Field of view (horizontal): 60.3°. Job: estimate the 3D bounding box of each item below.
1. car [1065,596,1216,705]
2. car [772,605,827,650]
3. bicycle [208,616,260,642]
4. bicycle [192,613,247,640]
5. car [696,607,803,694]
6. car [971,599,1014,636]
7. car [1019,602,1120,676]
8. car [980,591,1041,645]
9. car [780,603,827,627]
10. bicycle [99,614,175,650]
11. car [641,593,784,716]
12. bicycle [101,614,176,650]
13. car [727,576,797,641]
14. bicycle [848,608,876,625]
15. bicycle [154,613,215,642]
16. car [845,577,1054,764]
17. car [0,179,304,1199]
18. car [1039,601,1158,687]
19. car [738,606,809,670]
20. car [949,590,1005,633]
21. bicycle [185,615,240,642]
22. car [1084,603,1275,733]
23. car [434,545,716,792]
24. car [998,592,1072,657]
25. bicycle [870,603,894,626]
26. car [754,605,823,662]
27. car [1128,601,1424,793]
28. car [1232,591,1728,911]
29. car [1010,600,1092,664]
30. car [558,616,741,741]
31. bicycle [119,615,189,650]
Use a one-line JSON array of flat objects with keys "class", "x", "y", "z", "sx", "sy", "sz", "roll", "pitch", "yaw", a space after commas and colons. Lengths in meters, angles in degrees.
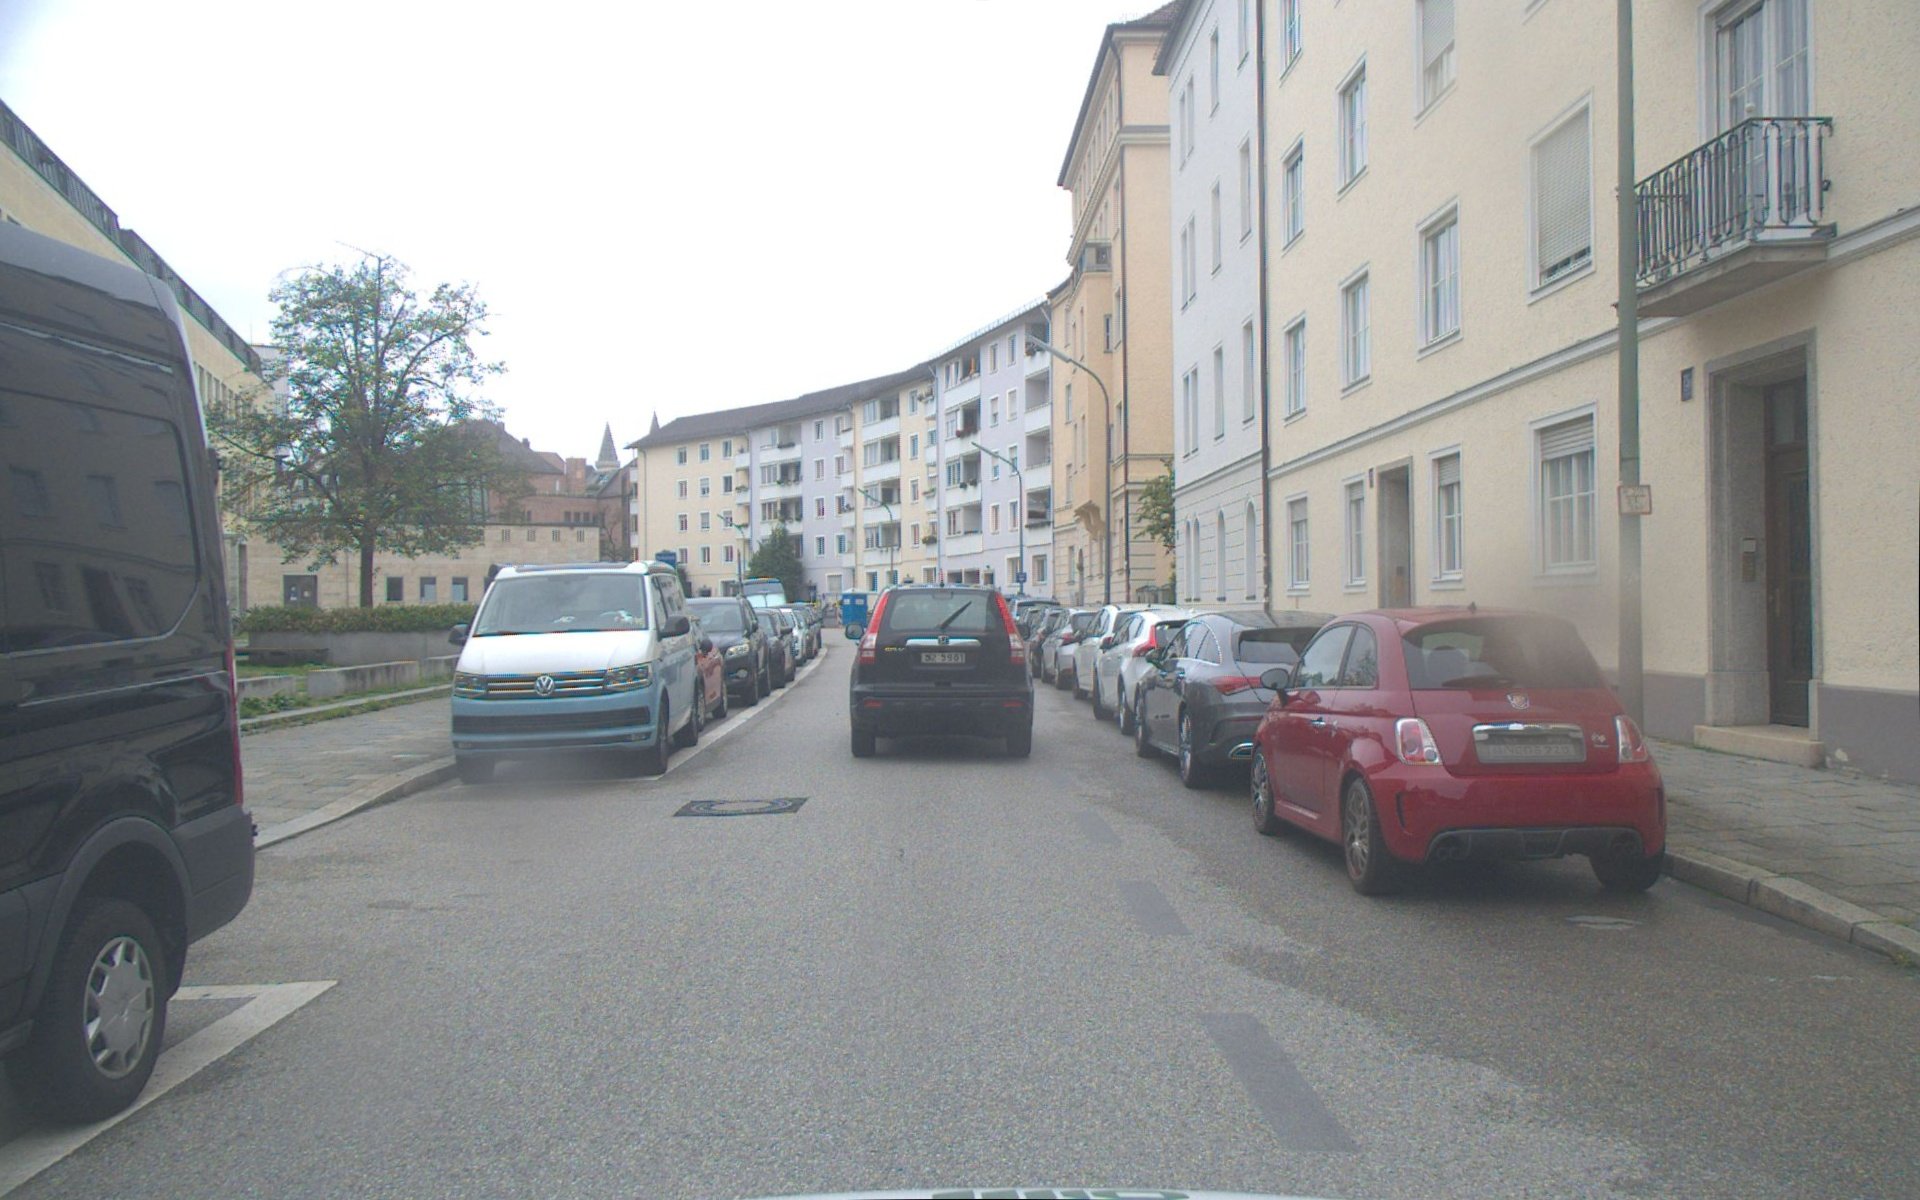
[{"class": "car", "x": 2.699, "y": 0.724, "z": 25.563, "sx": 1.645, "sy": 1.507, "sz": 4.164, "roll": -1, "pitch": 0, "yaw": -3}, {"class": "car", "x": -5.623, "y": 0.923, "z": 57.762, "sx": 1.765, "sy": 1.430, "sz": 4.449, "roll": -3, "pitch": 0, "yaw": -6}, {"class": "bicycle", "x": -30.508, "y": 1.201, "z": 69.491, "sx": 1.915, "sy": 1.032, "sz": 0.623, "roll": -1, "pitch": 0, "yaw": -17}, {"class": "bicycle", "x": -29.429, "y": 1.060, "z": 65.730, "sx": 1.917, "sy": 1.032, "sz": 0.622, "roll": -1, "pitch": 0, "yaw": -19}, {"class": "car", "x": -4.011, "y": 0.916, "z": 31.958, "sx": 1.647, "sy": 1.479, "sz": 3.868, "roll": -3, "pitch": 0, "yaw": -2}, {"class": "car", "x": 1.316, "y": 0.720, "z": 67.843, "sx": 1.673, "sy": 1.472, "sz": 3.829, "roll": 0, "pitch": 0, "yaw": 0}, {"class": "car", "x": 2.274, "y": 0.786, "z": 35.375, "sx": 1.645, "sy": 1.452, "sz": 4.388, "roll": -1, "pitch": 0, "yaw": -3}, {"class": "car", "x": 1.657, "y": 0.593, "z": 55.700, "sx": 1.831, "sy": 1.747, "sz": 4.864, "roll": 0, "pitch": 0, "yaw": -1}, {"class": "car", "x": -10.331, "y": 0.970, "z": 109.038, "sx": 1.705, "sy": 1.509, "sz": 3.961, "roll": 0, "pitch": 0, "yaw": -29}, {"class": "bicycle", "x": -24.536, "y": 0.943, "z": 49.355, "sx": 1.913, "sy": 1.032, "sz": 0.623, "roll": -1, "pitch": 0, "yaw": -12}, {"class": "car", "x": -3.921, "y": 0.818, "z": 26.846, "sx": 1.709, "sy": 1.694, "sz": 4.447, "roll": -4, "pitch": 0, "yaw": -2}, {"class": "bicycle", "x": -24.877, "y": 0.959, "z": 50.112, "sx": 1.915, "sy": 1.032, "sz": 0.623, "roll": -1, "pitch": 0, "yaw": -16}, {"class": "car", "x": -8.905, "y": 0.366, "z": 73.938, "sx": 2.129, "sy": 2.688, "sz": 5.992, "roll": -2, "pitch": 0, "yaw": -15}, {"class": "bicycle", "x": -6.637, "y": 1.135, "z": 112.060, "sx": 1.841, "sy": 1.110, "sz": 0.561, "roll": -1, "pitch": 0, "yaw": -24}, {"class": "bicycle", "x": -28.243, "y": 0.997, "z": 60.264, "sx": 1.910, "sy": 1.032, "sz": 0.624, "roll": -1, "pitch": 0, "yaw": -9}, {"class": "car", "x": -0.230, "y": 0.655, "z": 17.223, "sx": 1.854, "sy": 1.676, "sz": 3.987, "roll": -1, "pitch": 0, "yaw": -5}, {"class": "car", "x": -3.646, "y": 0.267, "z": 3.368, "sx": 2.250, "sy": 2.692, "sz": 5.653, "roll": -2, "pitch": 0, "yaw": 0}, {"class": "car", "x": 2.509, "y": 0.772, "z": 30.801, "sx": 1.645, "sy": 1.452, "sz": 4.164, "roll": -1, "pitch": 0, "yaw": -3}, {"class": "car", "x": -4.796, "y": 0.953, "z": 43.021, "sx": 1.624, "sy": 1.479, "sz": 4.069, "roll": -3, "pitch": 0, "yaw": -4}, {"class": "car", "x": 0.728, "y": 0.511, "z": 72.664, "sx": 1.745, "sy": 1.838, "sz": 4.266, "roll": 0, "pitch": 0, "yaw": -10}, {"class": "bicycle", "x": -30.017, "y": 1.144, "z": 66.427, "sx": 1.912, "sy": 1.032, "sz": 0.623, "roll": -1, "pitch": 0, "yaw": -12}, {"class": "car", "x": 2.648, "y": 0.775, "z": 20.912, "sx": 1.645, "sy": 1.434, "sz": 4.441, "roll": -1, "pitch": 0, "yaw": -2}, {"class": "car", "x": -3.635, "y": 0.590, "z": 16.564, "sx": 1.890, "sy": 2.013, "sz": 5.018, "roll": -2, "pitch": 0, "yaw": -4}, {"class": "car", "x": 2.028, "y": 0.652, "z": 45.768, "sx": 1.688, "sy": 1.663, "sz": 4.455, "roll": -1, "pitch": 0, "yaw": -2}, {"class": "bicycle", "x": -4.941, "y": 0.930, "z": 104.415, "sx": 0.953, "sy": 1.413, "sz": 2.551, "roll": -1, "pitch": 0, "yaw": -17}, {"class": "car", "x": -4.922, "y": 0.920, "z": 47.894, "sx": 1.720, "sy": 1.479, "sz": 4.393, "roll": -3, "pitch": 0, "yaw": -3}, {"class": "car", "x": 2.654, "y": 0.753, "z": 14.895, "sx": 1.645, "sy": 1.434, "sz": 4.419, "roll": -1, "pitch": 0, "yaw": -2}, {"class": "car", "x": 2.861, "y": 0.743, "z": 9.987, "sx": 1.645, "sy": 1.524, "sz": 3.822, "roll": -1, "pitch": 0, "yaw": -2}, {"class": "car", "x": 2.186, "y": 0.761, "z": 40.716, "sx": 1.645, "sy": 1.452, "sz": 4.085, "roll": -1, "pitch": 0, "yaw": -2}, {"class": "car", "x": -3.890, "y": 0.931, "z": 21.301, "sx": 1.708, "sy": 1.411, "sz": 3.917, "roll": 0, "pitch": 0, "yaw": -1}, {"class": "bicycle", "x": -25.670, "y": 1.030, "z": 52.687, "sx": 1.915, "sy": 1.032, "sz": 0.623, "roll": -1, "pitch": 0, "yaw": -16}]
